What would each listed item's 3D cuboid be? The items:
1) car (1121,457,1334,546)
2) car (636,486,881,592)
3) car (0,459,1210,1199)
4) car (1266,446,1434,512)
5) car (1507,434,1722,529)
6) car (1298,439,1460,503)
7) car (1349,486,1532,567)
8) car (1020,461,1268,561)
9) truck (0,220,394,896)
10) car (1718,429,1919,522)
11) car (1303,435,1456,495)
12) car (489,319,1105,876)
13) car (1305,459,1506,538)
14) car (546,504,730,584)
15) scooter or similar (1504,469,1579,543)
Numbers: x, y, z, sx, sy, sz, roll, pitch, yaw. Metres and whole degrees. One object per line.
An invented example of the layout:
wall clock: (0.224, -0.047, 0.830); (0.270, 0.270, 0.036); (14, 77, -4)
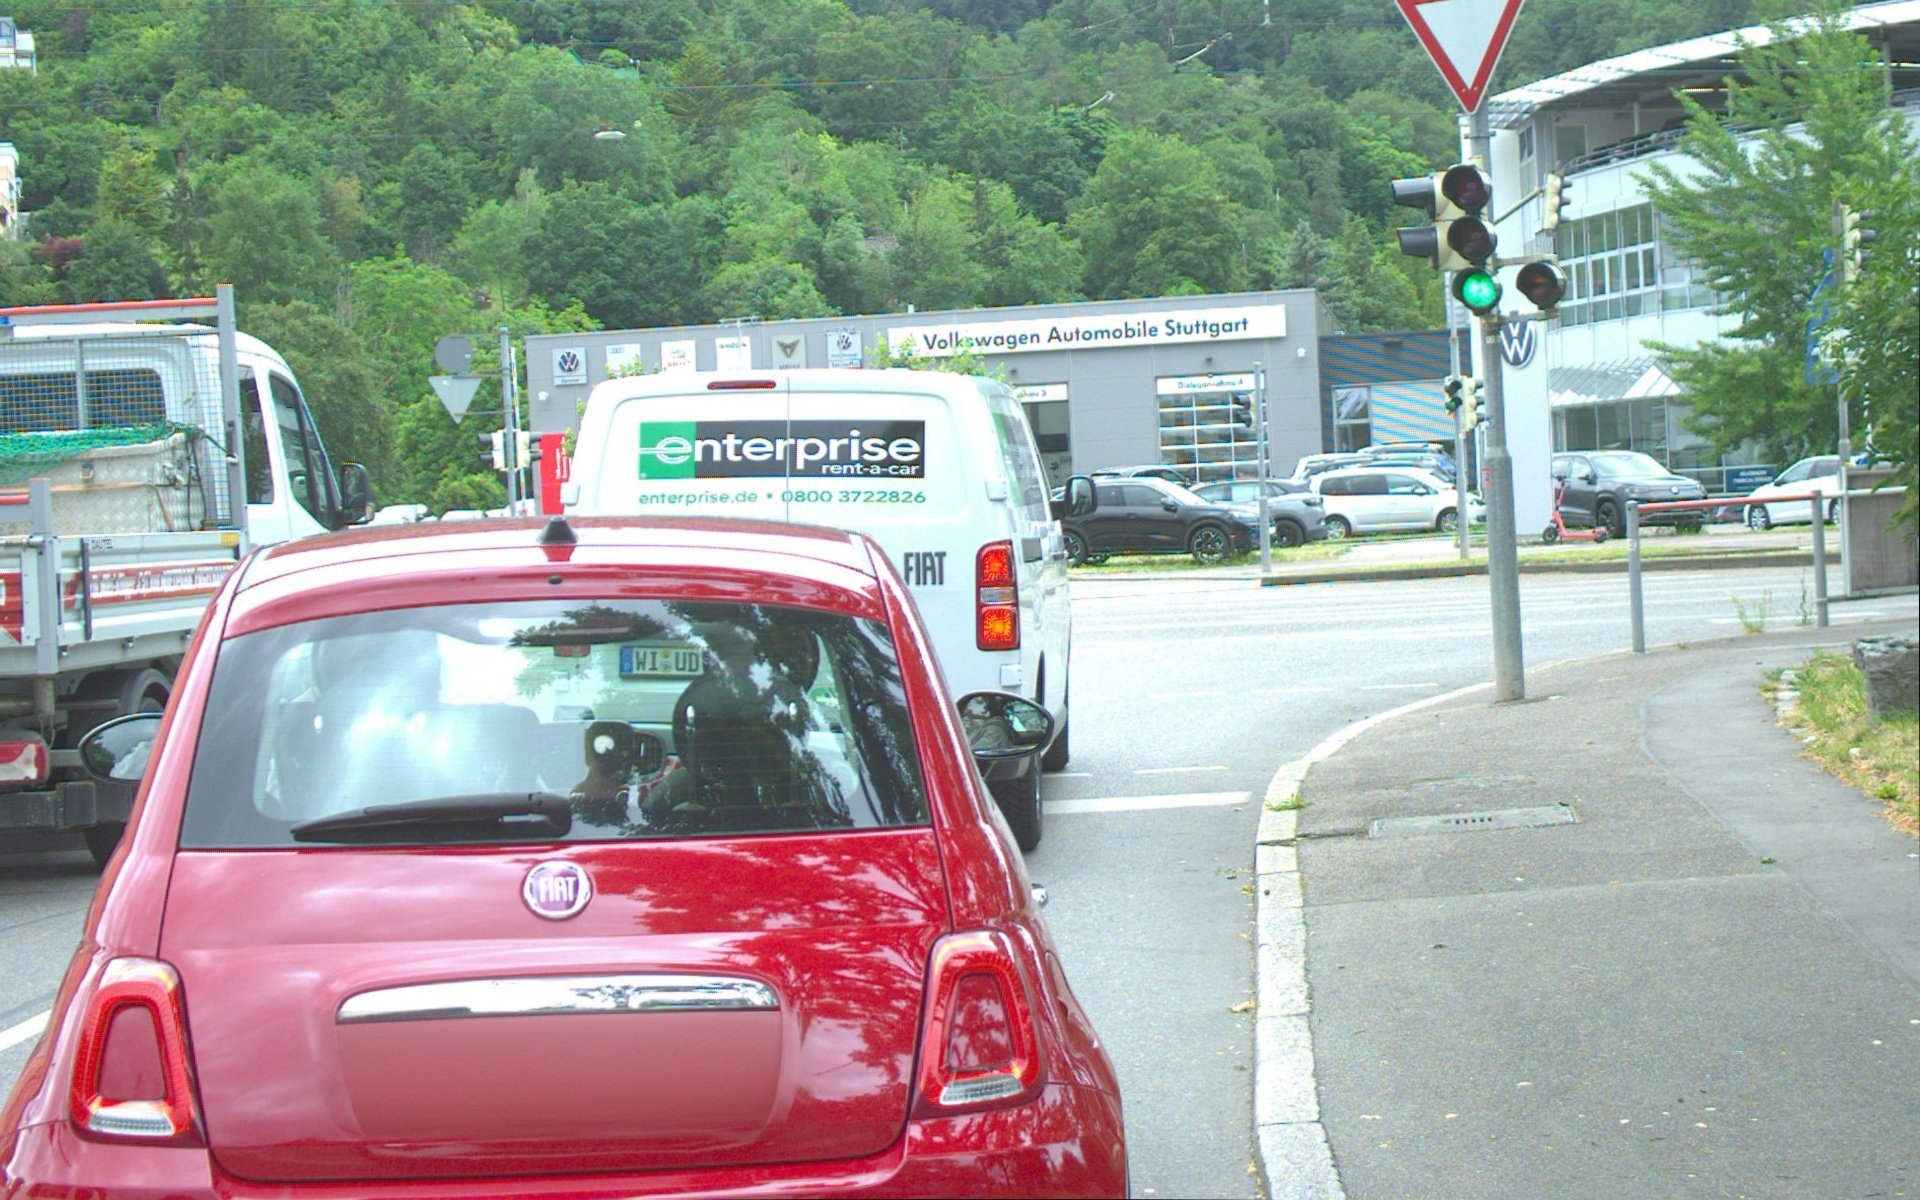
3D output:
car: (5.373, -1.968, 69.349); (3.986, 1.700, 2.000); (1, 0, -5)
car: (-4.434, -1.334, 76.023); (5.003, 2.007, 1.999); (-3, 0, 9)
car: (-0.676, 0.532, 6.374); (1.697, 1.520, 4.001); (1, 2, -4)
car: (10.773, -3.348, 95.261); (4.496, 1.723, 2.000); (1, 0, 3)
car: (12.126, -2.178, 63.939); (1.993, 1.634, 4.001); (-2, 1, -23)
car: (12.103, -3.721, 99.509); (4.496, 1.723, 2.000); (1, 0, 3)
car: (12.317, -1.872, 88.408); (4.496, 1.990, 2.000); (1, 0, 4)
car: (3.275, -1.602, 60.904); (3.990, 1.634, 1.999); (1, 5, 18)
truck: (-4.337, -0.204, 15.186); (2.314, 2.413, 5.654); (-3, 2, 4)
car: (16.458, -2.337, 65.421); (1.993, 1.634, 4.001); (1, 0, -23)
car: (12.739, -4.108, 104.644); (4.496, 1.723, 2.000); (1, 0, 3)
car: (-0.515, -0.137, 15.094); (1.999, 2.033, 4.831); (1, 3, 6)
car: (10.345, -2.360, 80.162); (4.496, 1.723, 2.000); (1, 0, 3)
car: (-8.353, -1.444, 89.461); (4.496, 1.990, 2.000); (1, 0, 4)
scooter or similar: (10.315, -1.666, 60.982); (1.200, 1.284, 0.575); (1, 0, -1)
